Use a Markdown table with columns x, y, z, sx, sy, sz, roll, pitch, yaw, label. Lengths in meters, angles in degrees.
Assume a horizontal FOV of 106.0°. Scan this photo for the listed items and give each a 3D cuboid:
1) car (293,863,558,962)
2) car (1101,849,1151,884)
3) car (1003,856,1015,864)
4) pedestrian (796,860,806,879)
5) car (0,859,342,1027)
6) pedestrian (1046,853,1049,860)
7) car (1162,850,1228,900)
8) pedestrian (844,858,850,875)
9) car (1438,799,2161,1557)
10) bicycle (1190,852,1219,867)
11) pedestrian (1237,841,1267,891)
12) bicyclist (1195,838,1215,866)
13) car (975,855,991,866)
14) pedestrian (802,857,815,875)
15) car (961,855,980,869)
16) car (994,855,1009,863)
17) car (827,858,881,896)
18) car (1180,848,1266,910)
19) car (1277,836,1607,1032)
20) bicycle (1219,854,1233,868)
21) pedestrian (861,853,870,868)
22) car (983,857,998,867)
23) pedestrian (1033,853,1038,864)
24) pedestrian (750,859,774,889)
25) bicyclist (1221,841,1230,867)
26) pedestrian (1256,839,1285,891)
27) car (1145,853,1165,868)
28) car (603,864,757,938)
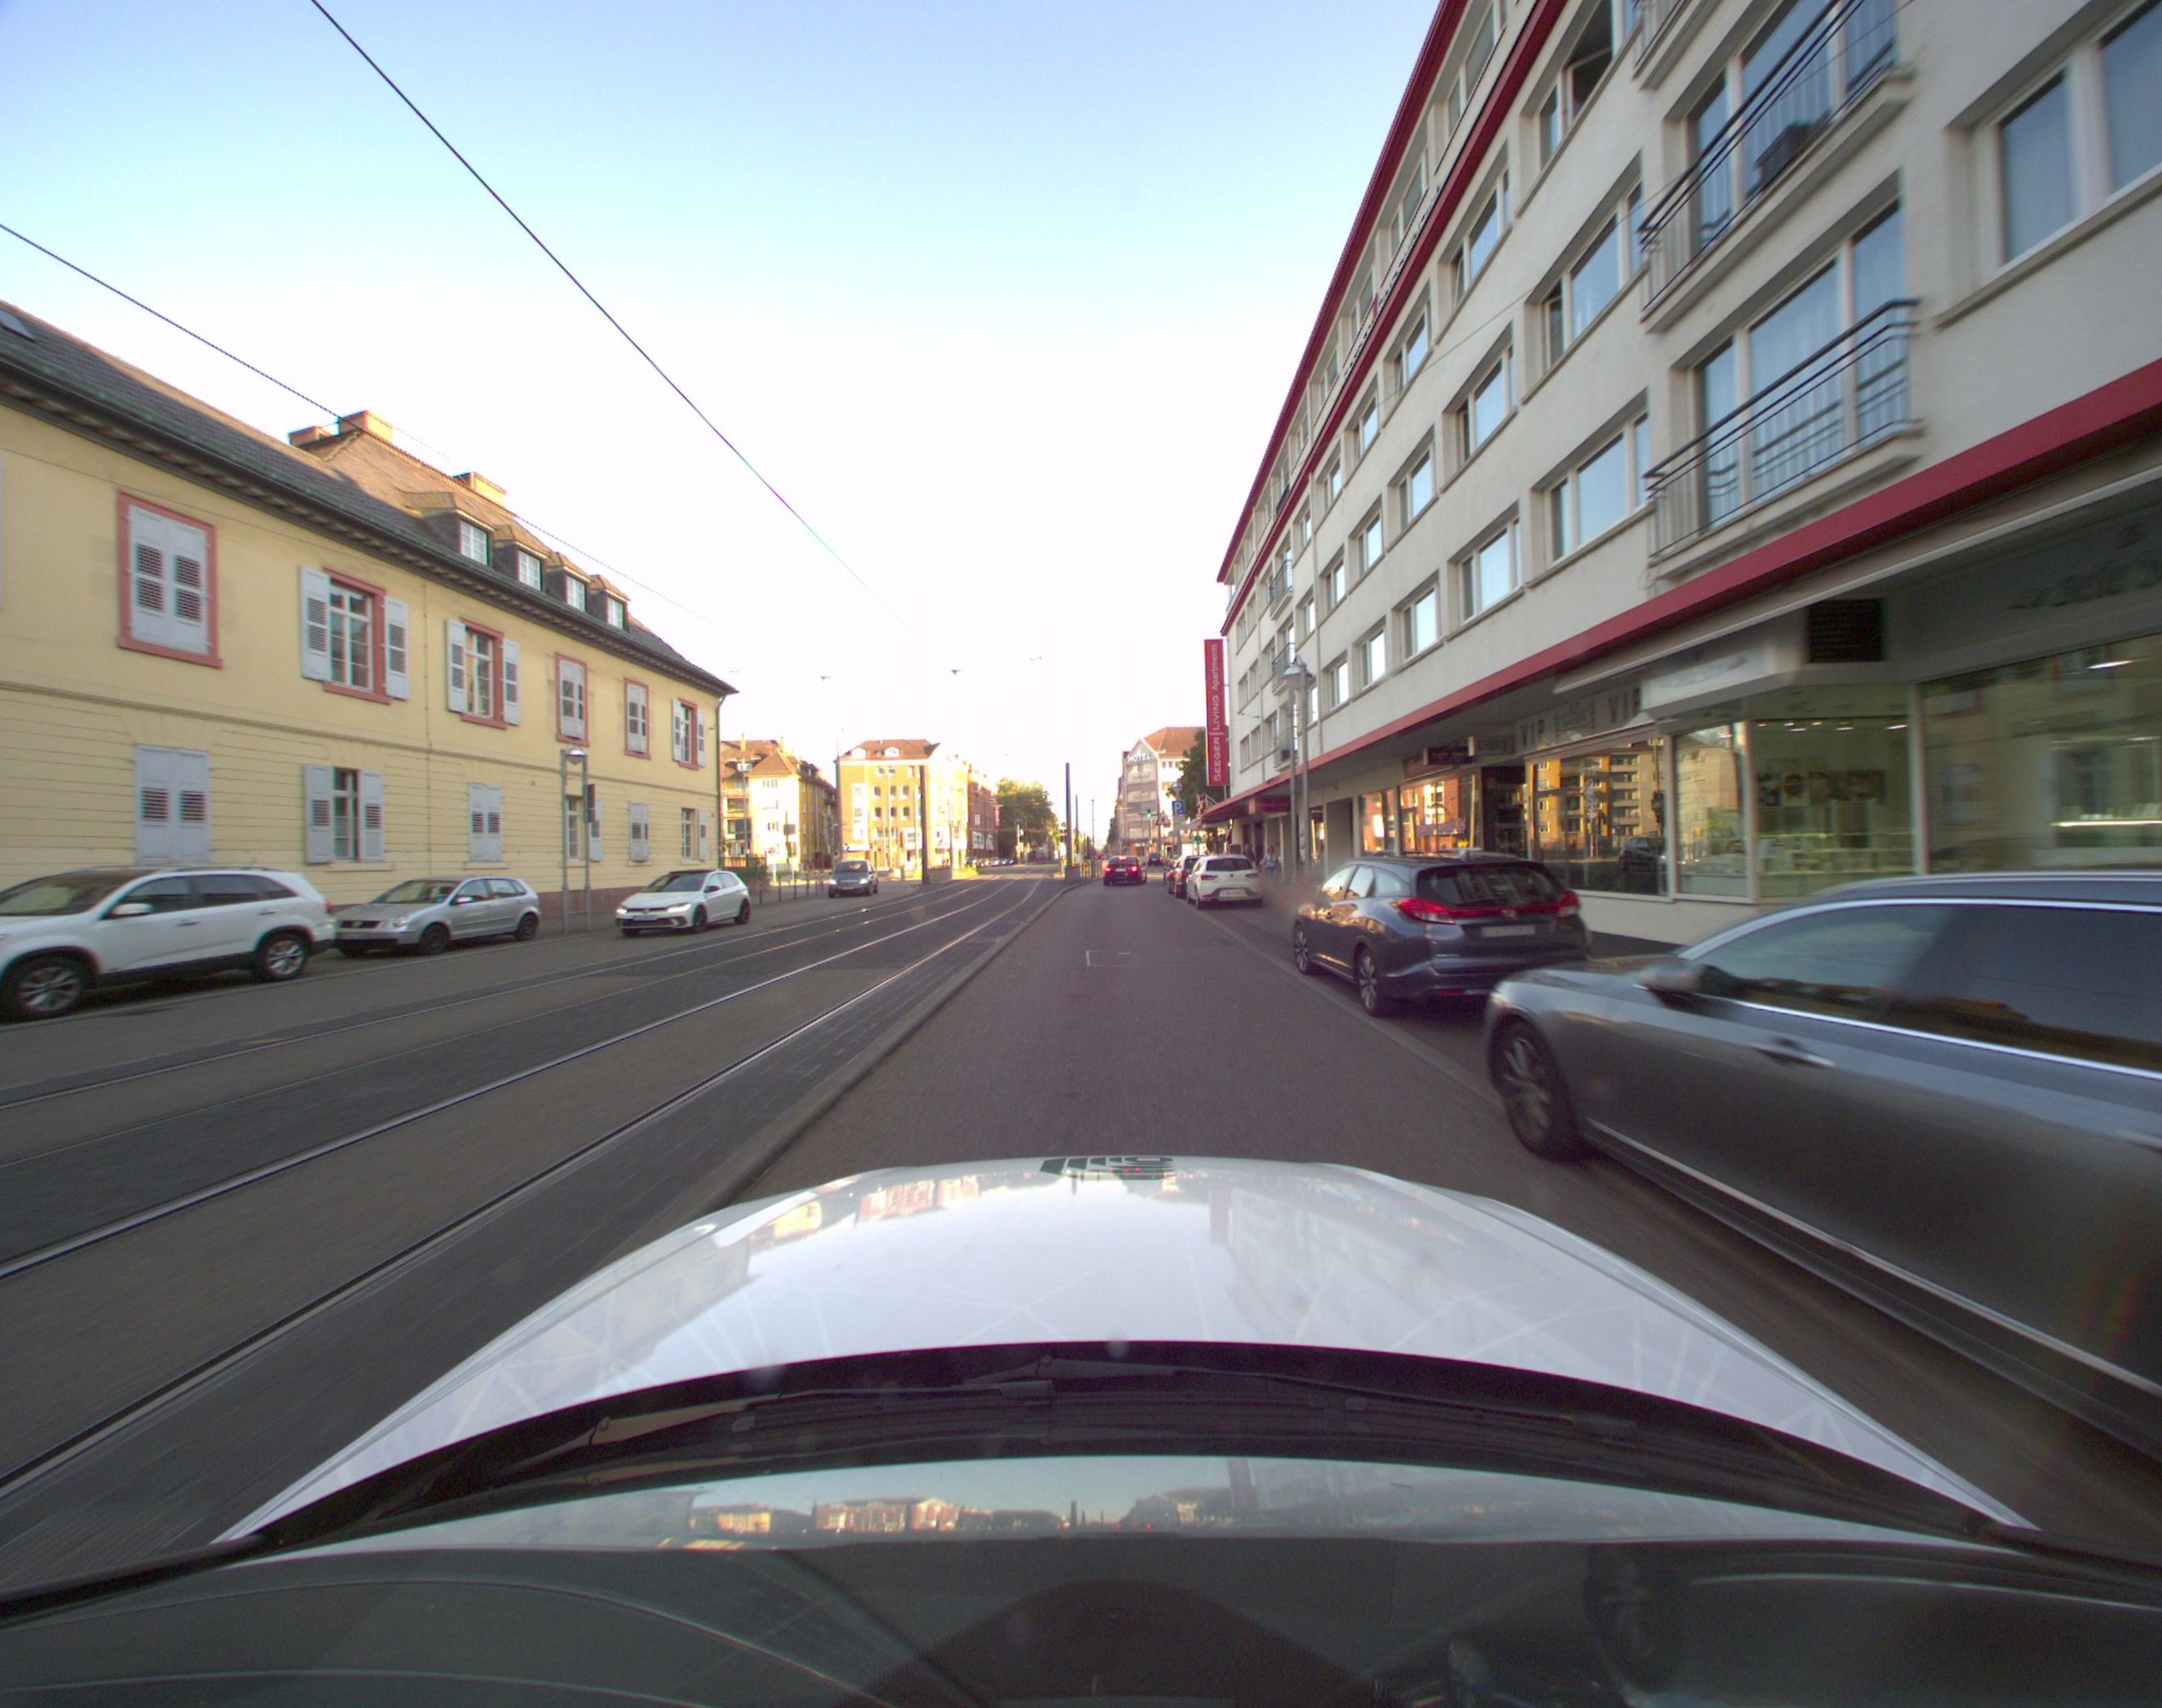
| x | y | z | sx | sy | sz | roll | pitch | yaw | label |
| --- | --- | --- | --- | --- | --- | --- | --- | --- | --- |
| -12.823 | 1.042 | 16.359 | 1.806 | 1.617 | 4.216 | 1 | 1 | 1 | car |
| 2.299 | 0.583 | 40.776 | 1.981 | 1.585 | 4.011 | -2 | 0 | 10 | car |
| -14.497 | 1.172 | 164.548 | 1.988 | 1.585 | 4.477 | -2 | 0 | -1 | car |
| -27.362 | 1.516 | 79.584 | 0.885 | 1.868 | 0.970 | -2 | 0 | -19 | pedestrian |
| -12.729 | 0.984 | 10.744 | 1.807 | 1.785 | 4.496 | 1 | 0 | 0 | car |
| -7.659 | 0.568 | 186.277 | 0.720 | 1.681 | 0.992 | -2 | 0 | 4 | pedestrian |
| 3.867 | 0.656 | 28.334 | 1.728 | 1.512 | 4.688 | -3 | 0 | 2 | car |
| -26.129 | 1.373 | 91.089 | 0.501 | 1.868 | 0.562 | 0 | 0 | -4 | pedestrian |
| 3.029 | 0.606 | 2.497 | 1.784 | 1.512 | 4.712 | -3 | 0 | 0 | car |
| 8.656 | 0.363 | 57.117 | 0.844 | 1.020 | 2.055 | -1 | 0 | -36 | bicycle |
| 6.106 | 0.409 | 29.086 | 0.824 | 1.718 | 0.843 | -3 | 0 | 2 | pedestrian |
| 8.697 | -0.110 | 57.059 | 0.844 | 1.917 | 1.103 | -1 | 0 | -36 | bicyclist |
| -14.973 | 1.003 | 124.697 | 1.988 | 1.585 | 4.585 | -2 | 0 | -1 | car |
| -31.006 | 1.344 | 92.592 | 1.016 | 1.944 | 1.102 | -2 | 0 | 7 | pedestrian |
| -15.450 | 1.108 | 114.272 | 1.988 | 1.901 | 4.809 | -2 | 0 | -1 | car |
| -14.954 | 1.013 | 153.572 | 1.659 | 1.448 | 4.213 | -2 | 0 | 9 | car |
| -10.021 | 0.969 | 36.201 | 1.734 | 1.512 | 4.024 | -2 | 0 | -8 | car |
| 3.913 | 0.631 | 23.037 | 1.778 | 1.512 | 4.054 | -3 | 0 | 2 | car |
| 3.458 | 0.646 | 8.795 | 1.728 | 1.512 | 4.305 | -3 | 0 | 2 | car |
| 10.343 | 0.469 | 58.080 | 0.464 | 0.970 | 1.796 | -2 | 0 | -6 | bicycle |
| -26.450 | 0.796 | 99.766 | 0.939 | 1.868 | 0.836 | 0 | 0 | -8 | pedestrian |
| -15.003 | 1.374 | 134.967 | 1.987 | 1.585 | 4.113 | -2 | 0 | 0 | car |
| -9.087 | 0.901 | 162.982 | 0.984 | 2.014 | 0.726 | 0 | -1 | 0 | pedestrian |
| -17.104 | 1.070 | 43.679 | 0.943 | 1.584 | 0.737 | -2 | 0 | 23 | pedestrian |
| 10.311 | 0.024 | 58.167 | 0.464 | 1.830 | 0.558 | -2 | 0 | -7 | bicyclist |
| 6.552 | 0.384 | 28.177 | 0.726 | 1.741 | 0.863 | -3 | 0 | 2 | pedestrian |
| 8.071 | 0.719 | 89.024 | 1.986 | 1.552 | 4.002 | -2 | 0 | 2 | car |
| -9.582 | 1.056 | 19.847 | 1.801 | 1.512 | 4.032 | -2 | 0 | -2 | car |
